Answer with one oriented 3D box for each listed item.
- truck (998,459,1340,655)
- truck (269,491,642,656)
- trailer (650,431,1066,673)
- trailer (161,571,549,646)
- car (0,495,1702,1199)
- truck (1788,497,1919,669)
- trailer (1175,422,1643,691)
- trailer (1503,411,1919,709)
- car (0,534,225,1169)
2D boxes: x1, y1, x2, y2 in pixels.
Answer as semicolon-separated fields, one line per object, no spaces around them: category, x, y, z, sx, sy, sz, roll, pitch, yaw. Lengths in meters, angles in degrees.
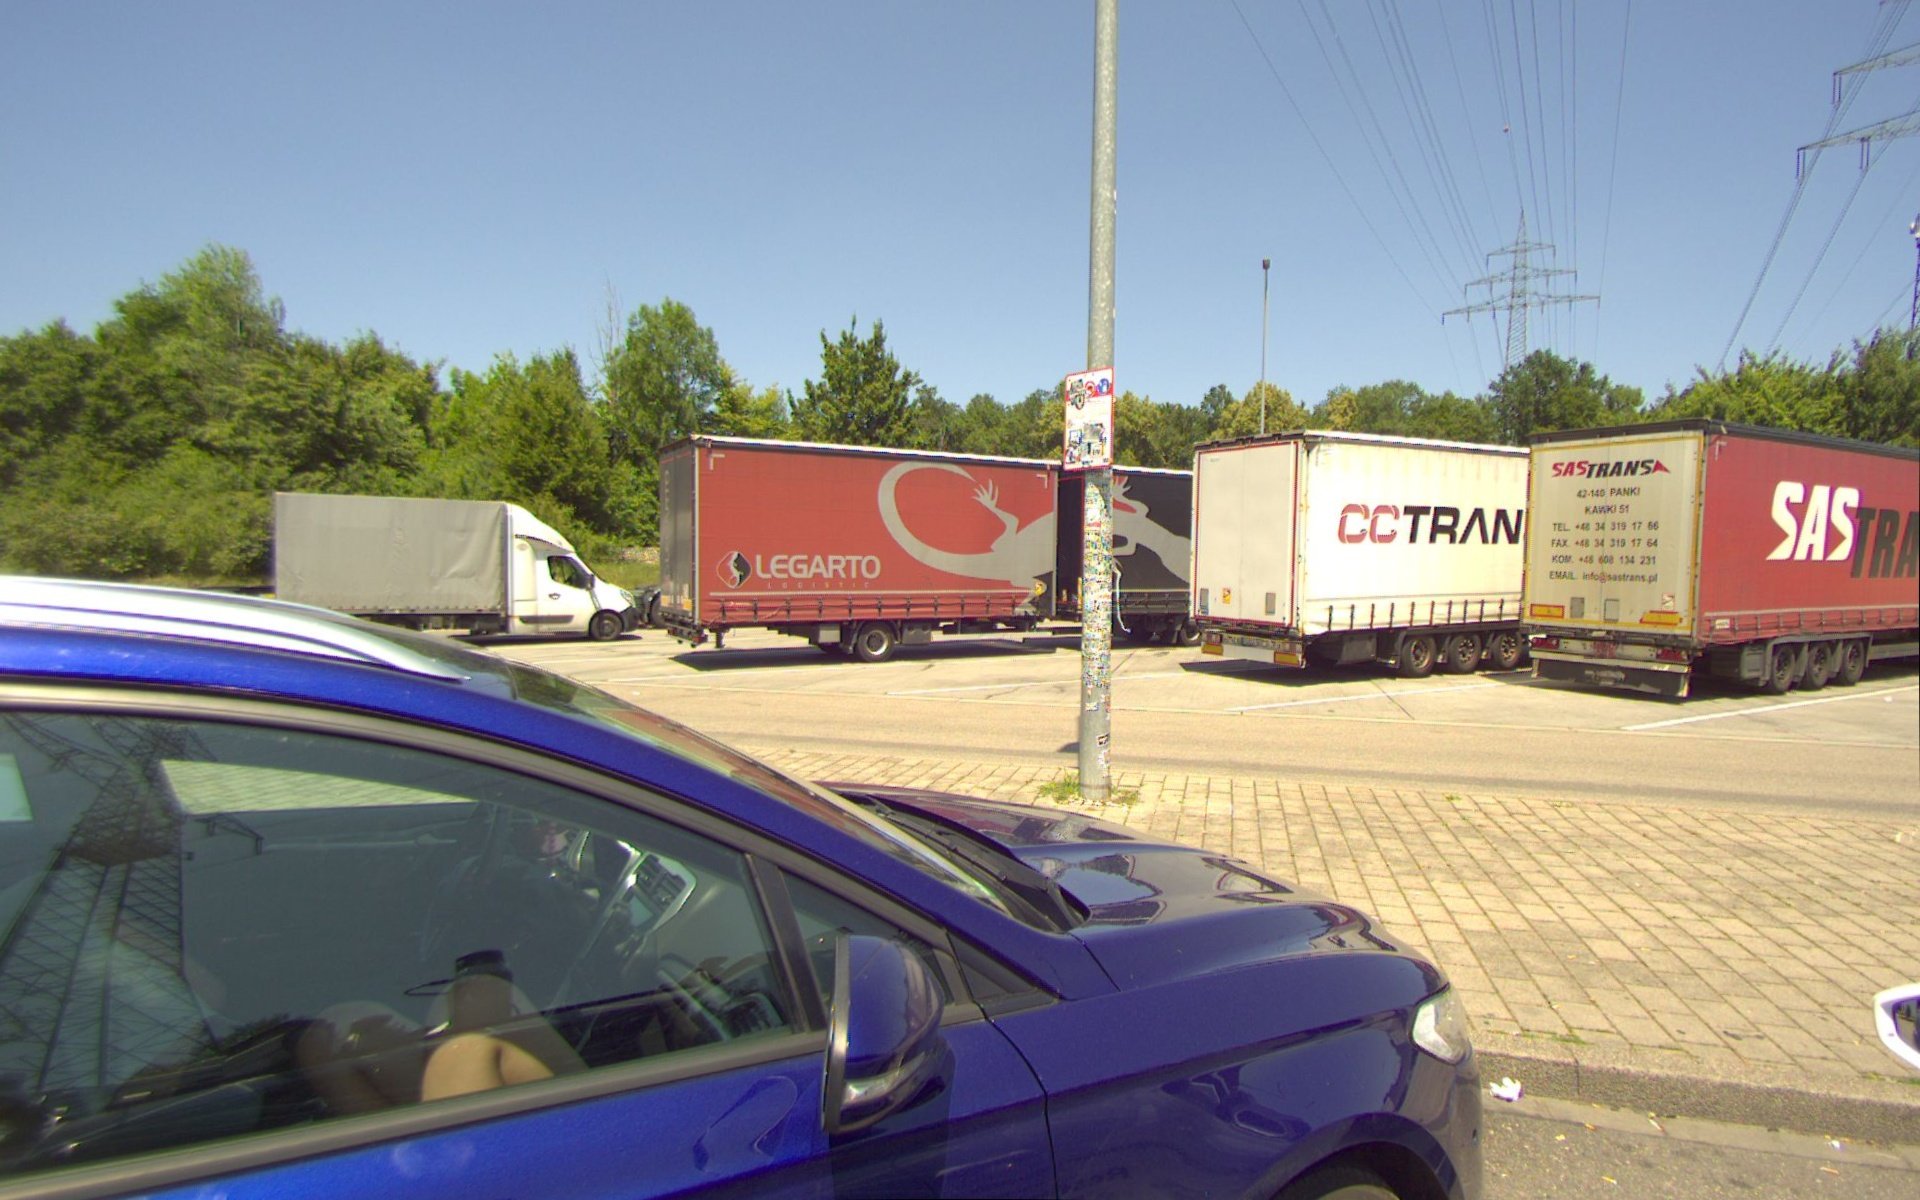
truck;5.259;-0.997;24.535;8.586;4.127;2.693;-1;3;-30
truck;-11.251;-0.618;22.991;7.187;3.289;2.694;-1;3;-29
trailer;-1.893;-0.901;20.327;8.007;4.127;2.693;-1;3;-30
trailer;-14.762;0.110;25.230;8.007;1.648;2.199;-1;3;-30
car;-0.984;0.652;1.448;4.522;1.491;1.743;0;2;-32
truck;21.246;-0.405;22.044;5.903;3.409;2.798;-1;3;-30
trailer;8.960;-0.770;19.341;10.264;4.158;2.693;-1;3;-30
trailer;15.454;-0.678;18.607;13.599;4.127;2.807;-1;3;-31
car;-4.426;0.580;2.085;4.522;1.526;1.743;0;2;-32
